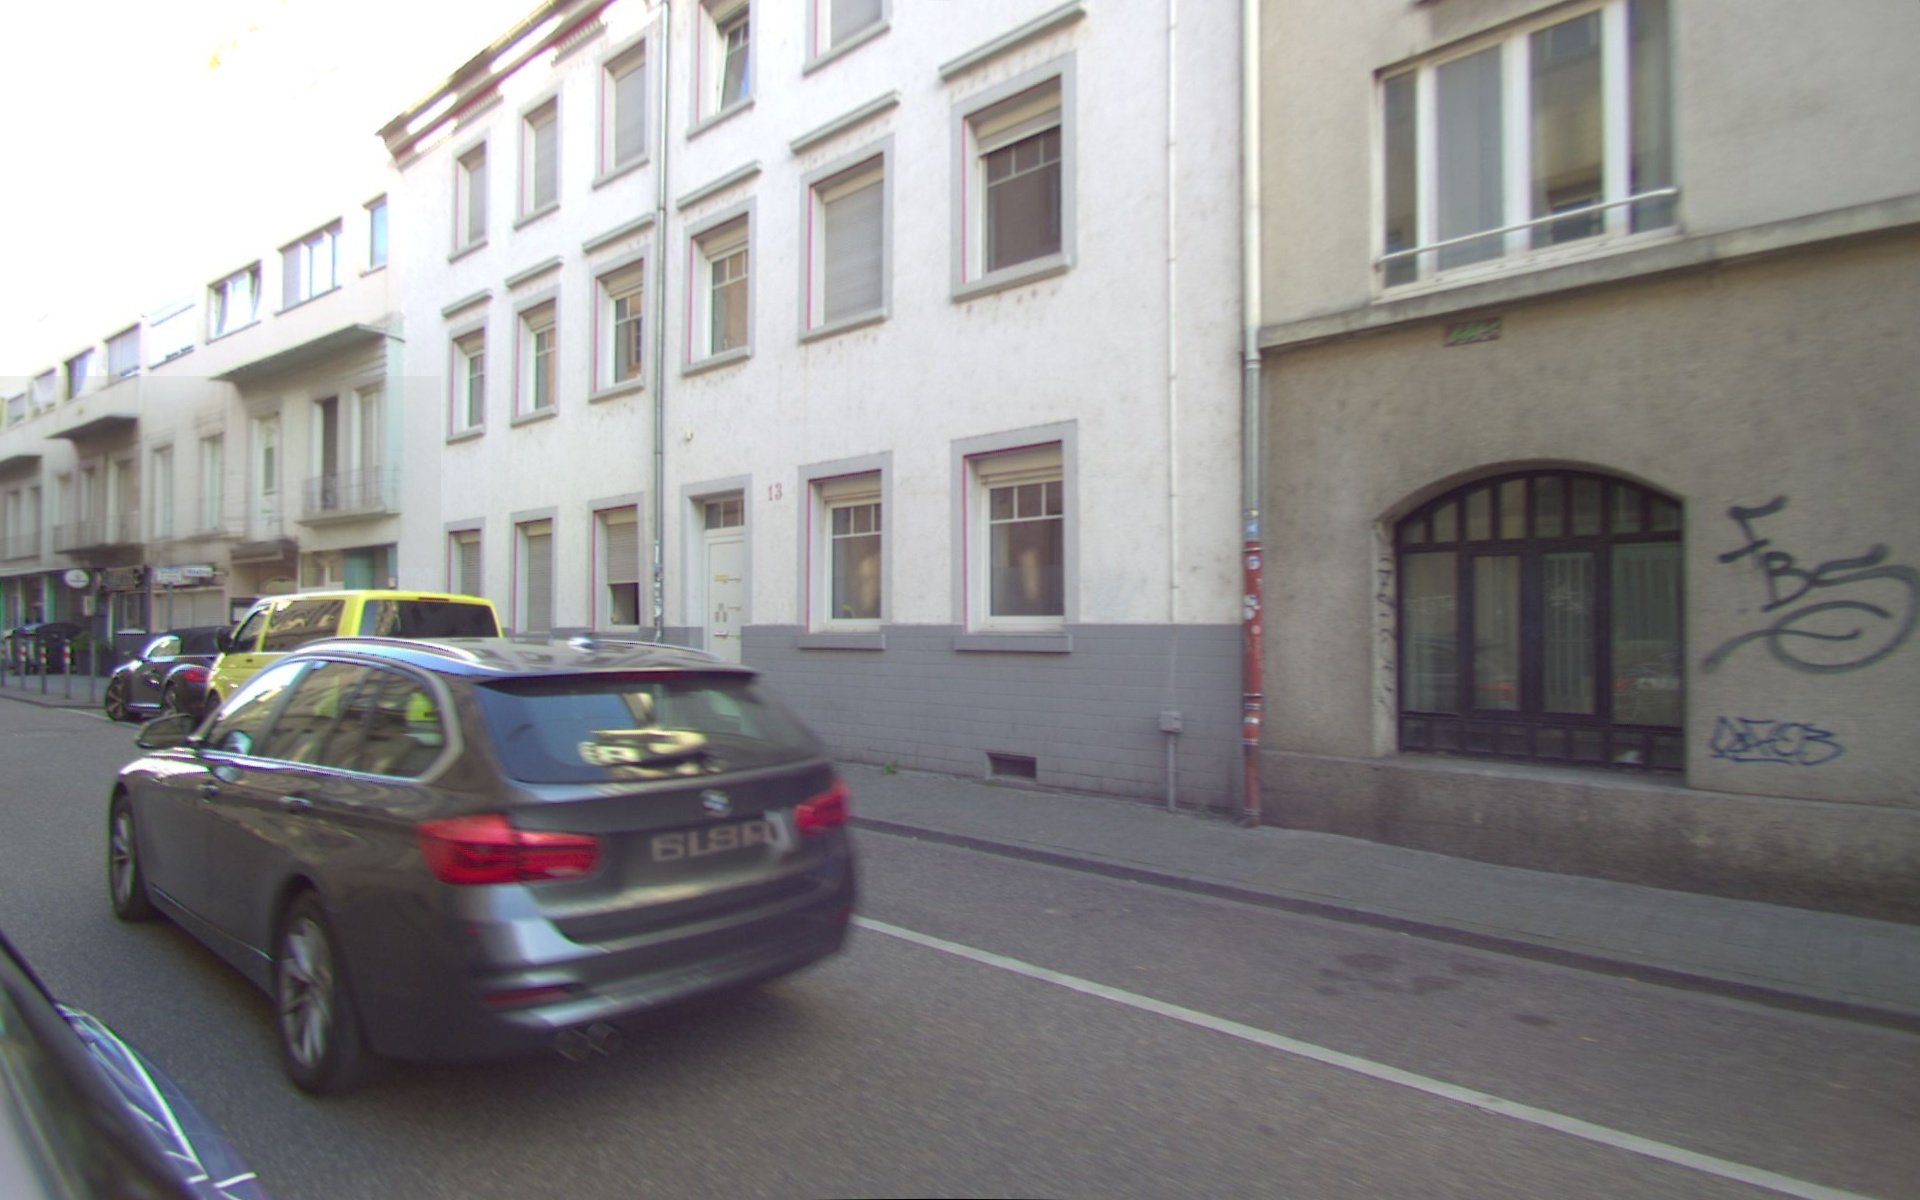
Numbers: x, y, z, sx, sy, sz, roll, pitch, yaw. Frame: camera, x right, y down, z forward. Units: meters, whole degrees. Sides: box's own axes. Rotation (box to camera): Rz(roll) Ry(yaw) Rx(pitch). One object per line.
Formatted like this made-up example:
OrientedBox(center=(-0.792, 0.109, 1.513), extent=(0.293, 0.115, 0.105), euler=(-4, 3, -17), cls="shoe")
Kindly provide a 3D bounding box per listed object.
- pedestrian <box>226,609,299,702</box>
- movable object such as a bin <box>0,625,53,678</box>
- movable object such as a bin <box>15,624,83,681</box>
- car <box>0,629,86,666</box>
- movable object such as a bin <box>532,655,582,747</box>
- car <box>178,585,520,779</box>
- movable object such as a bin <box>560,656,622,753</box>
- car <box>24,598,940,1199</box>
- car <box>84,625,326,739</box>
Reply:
OrientedBox(center=(-13.405, 1.052, 19.480), extent=(1.063, 1.742, 0.804), euler=(1, -2, -31), cls="pedestrian")
OrientedBox(center=(-26.765, 1.477, 28.902), extent=(1.471, 1.483, 0.960), euler=(-3, -3, 35), cls="movable object such as a bin")
OrientedBox(center=(-25.320, 1.447, 28.117), extent=(1.339, 1.532, 1.112), euler=(-3, -3, 35), cls="movable object such as a bin")
OrientedBox(center=(-39.577, 1.971, 42.619), extent=(1.688, 1.531, 3.900), euler=(-1, -2, 33), cls="car")
OrientedBox(center=(-5.032, 1.249, 12.631), extent=(0.433, 1.113, 0.406), euler=(-2, -3, 41), cls="movable object such as a bin")
OrientedBox(center=(-7.407, 0.901, 12.060), extent=(4.858, 1.881, 1.861), euler=(-2, -5, 39), cls="car")
OrientedBox(center=(-4.410, 1.235, 12.112), extent=(0.433, 1.113, 0.535), euler=(-2, -3, 41), cls="movable object such as a bin")
OrientedBox(center=(-2.270, 0.845, 4.390), extent=(4.179, 1.590, 1.700), euler=(-1, -2, 34), cls="car")
OrientedBox(center=(-11.497, 1.180, 15.335), extent=(4.069, 1.497, 1.802), euler=(-1, -5, 37), cls="car")
